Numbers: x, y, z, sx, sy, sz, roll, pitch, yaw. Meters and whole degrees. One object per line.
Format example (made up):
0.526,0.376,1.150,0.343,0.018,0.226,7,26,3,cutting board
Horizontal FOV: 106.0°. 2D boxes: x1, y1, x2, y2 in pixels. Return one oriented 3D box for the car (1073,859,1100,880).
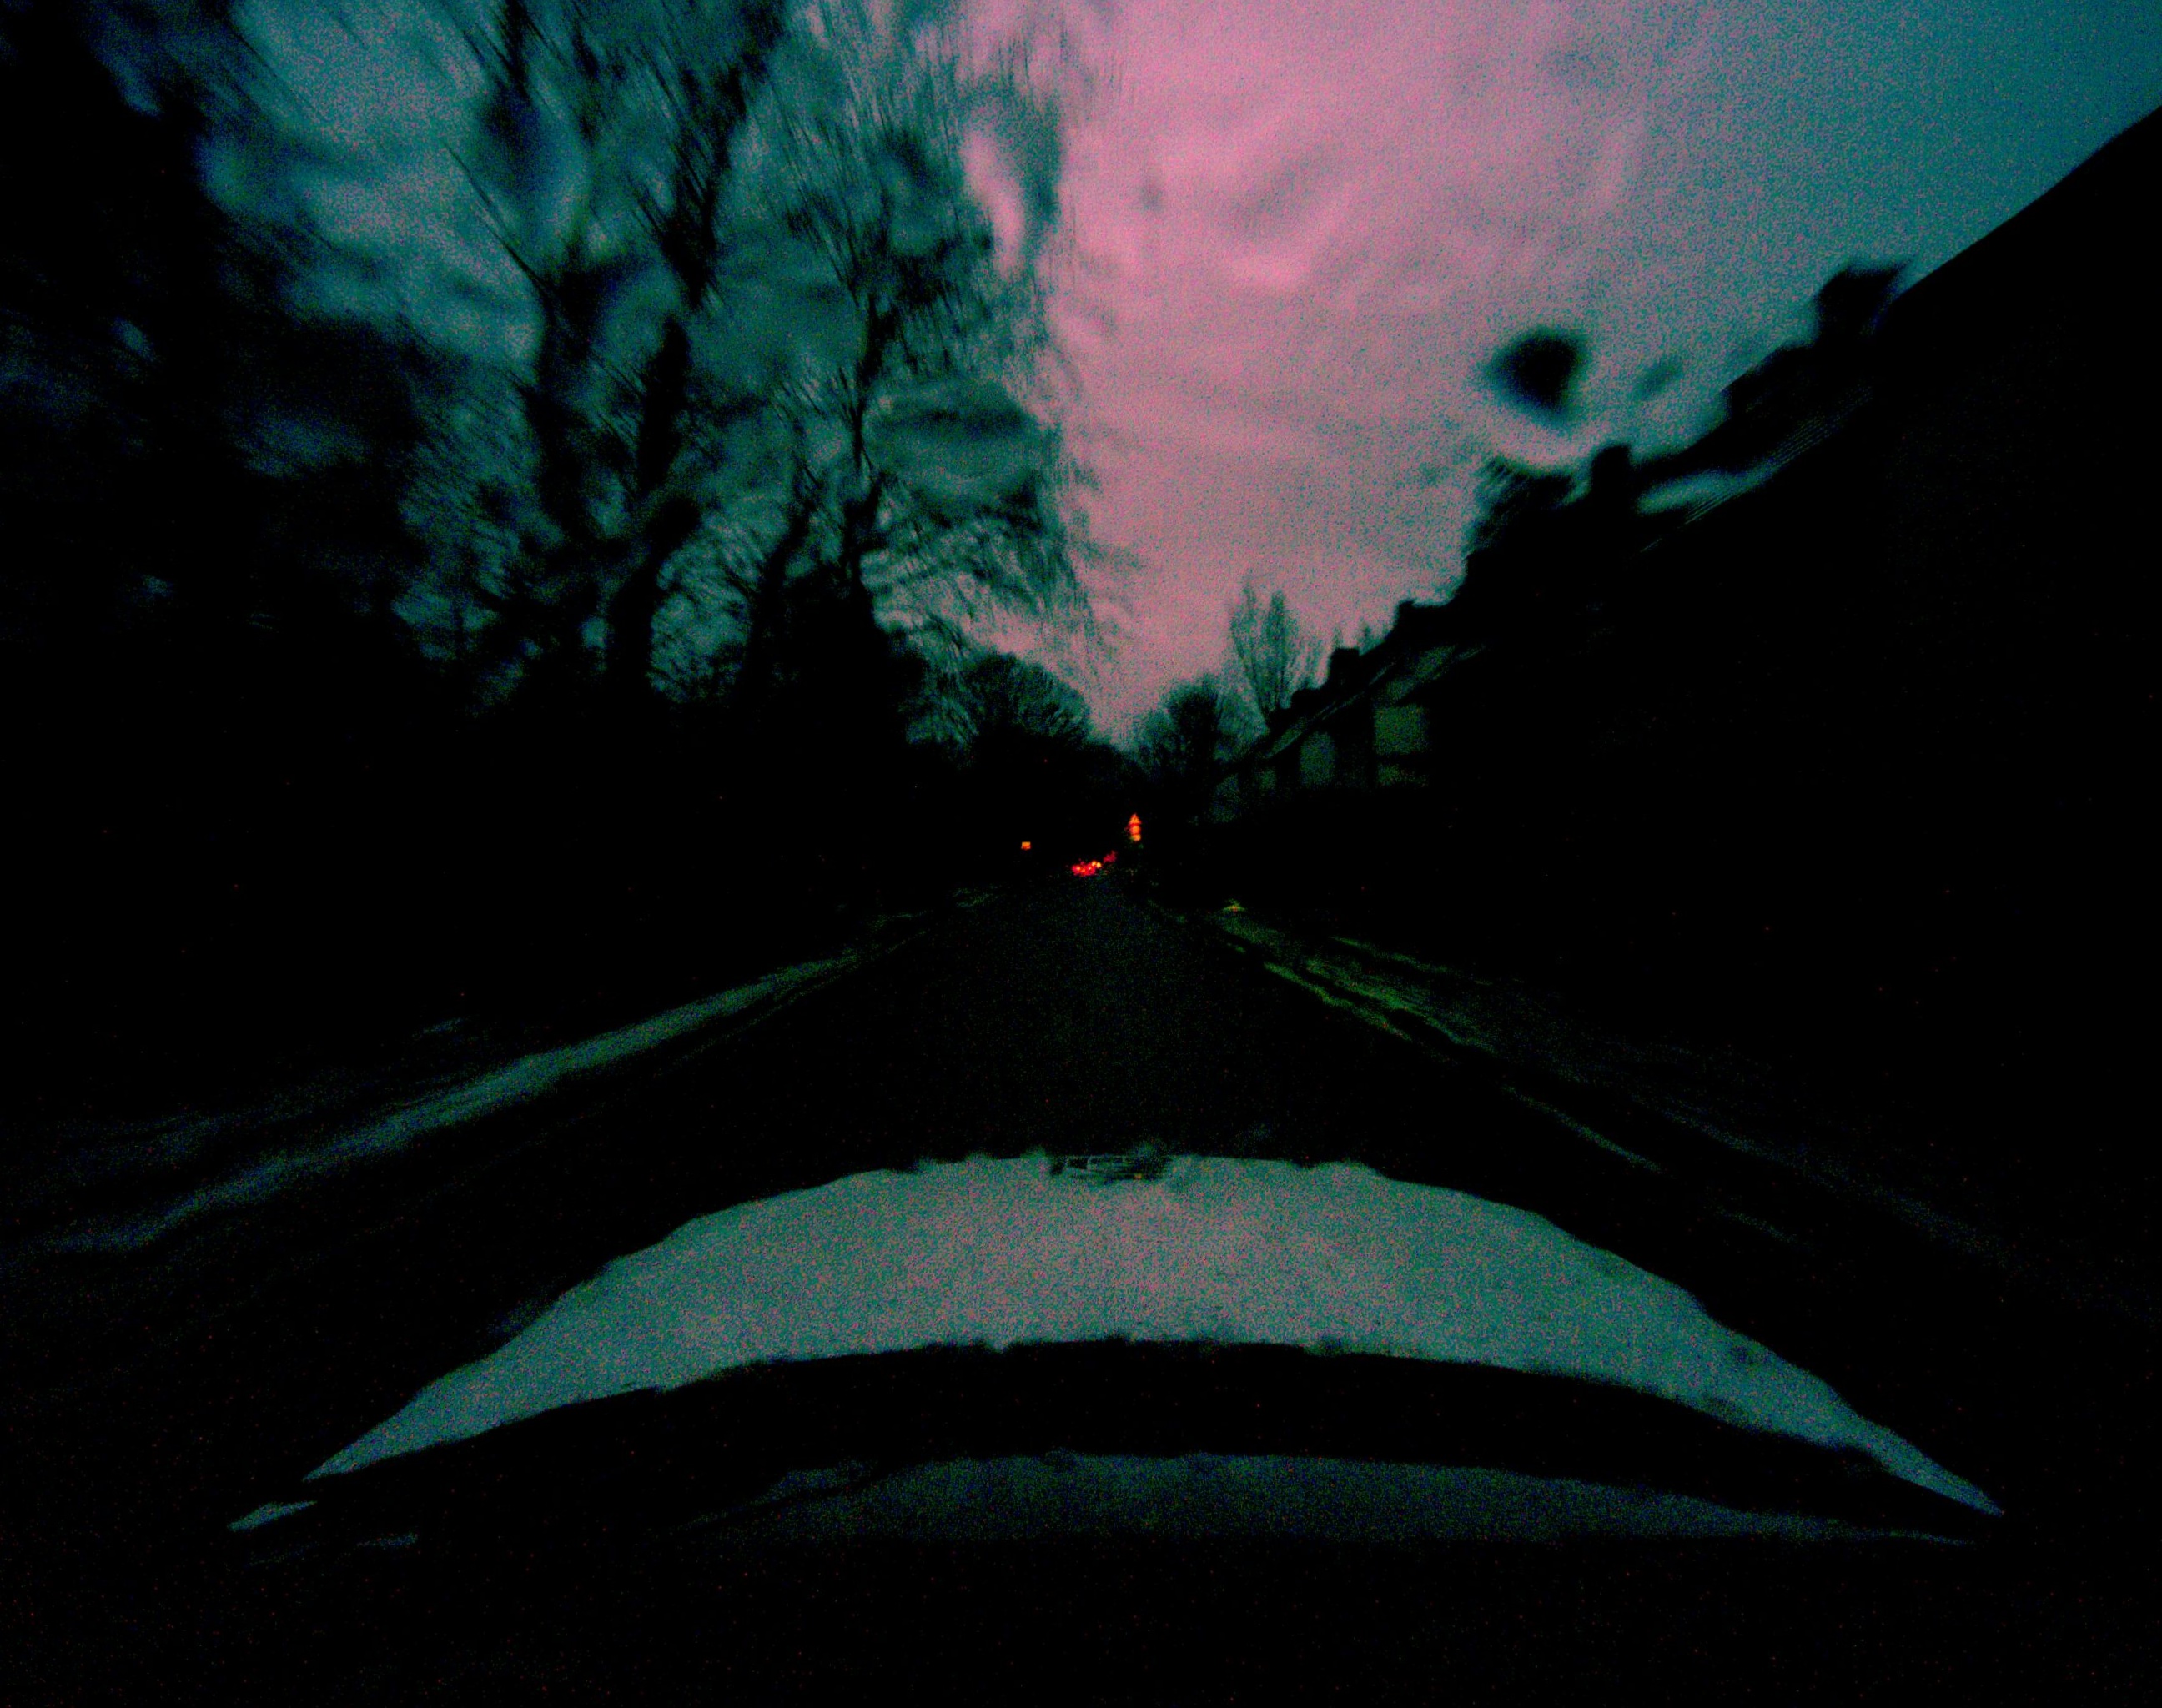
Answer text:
0.530,1.393,74.118,1.923,1.781,4.007,-2,0,6,car
